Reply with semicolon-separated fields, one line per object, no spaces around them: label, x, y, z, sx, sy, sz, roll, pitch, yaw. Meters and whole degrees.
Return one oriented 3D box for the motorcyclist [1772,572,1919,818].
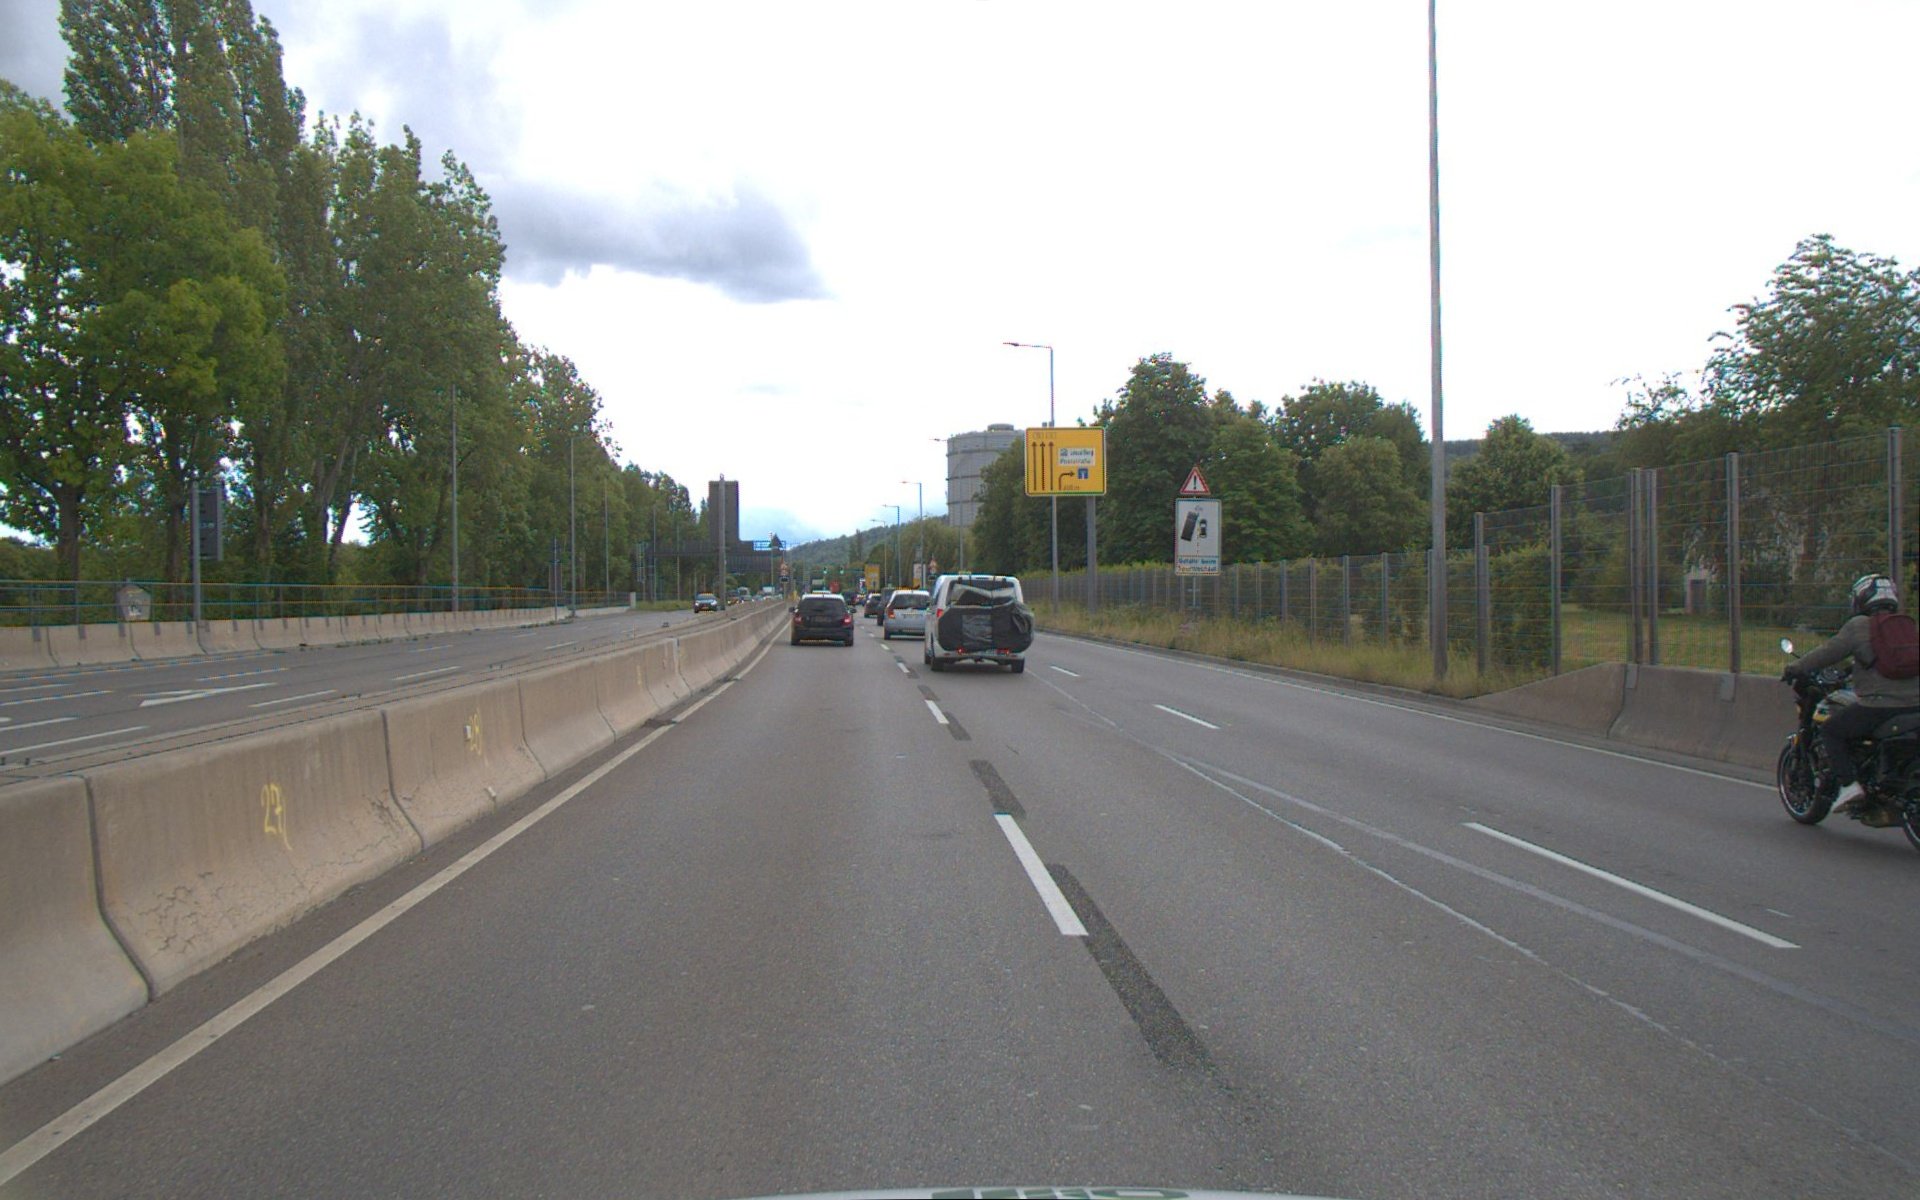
motorcyclist;5.936;0.579;10.649;0.895;1.502;0.965;0;0;-7

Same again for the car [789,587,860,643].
car;-3.761;0.390;46.367;1.778;1.459;4.064;-1;1;-2

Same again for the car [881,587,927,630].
car;-2.612;0.368;76.059;1.954;1.892;3.997;0;0;-4

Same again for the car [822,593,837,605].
car;-18.875;-0.211;239.371;1.956;1.683;3.994;1;0;-7

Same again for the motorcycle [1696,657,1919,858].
motorcycle;5.915;0.973;10.852;0.729;1.102;2.661;-1;0;-7

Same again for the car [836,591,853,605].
car;-13.918;-0.271;199.788;1.955;1.683;3.996;1;0;-5

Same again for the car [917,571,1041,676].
car;0.290;0.414;33.471;1.954;1.891;5.636;2;0;-5

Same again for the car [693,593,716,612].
car;-19.716;0.198;127.861;1.700;1.398;3.610;0;0;-8

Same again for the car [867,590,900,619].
car;-4.692;0.245;101.226;1.954;1.698;3.997;2;0;-3

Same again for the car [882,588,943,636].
car;-1.577;0.361;53.905;1.882;1.515;4.063;0;0;-3
